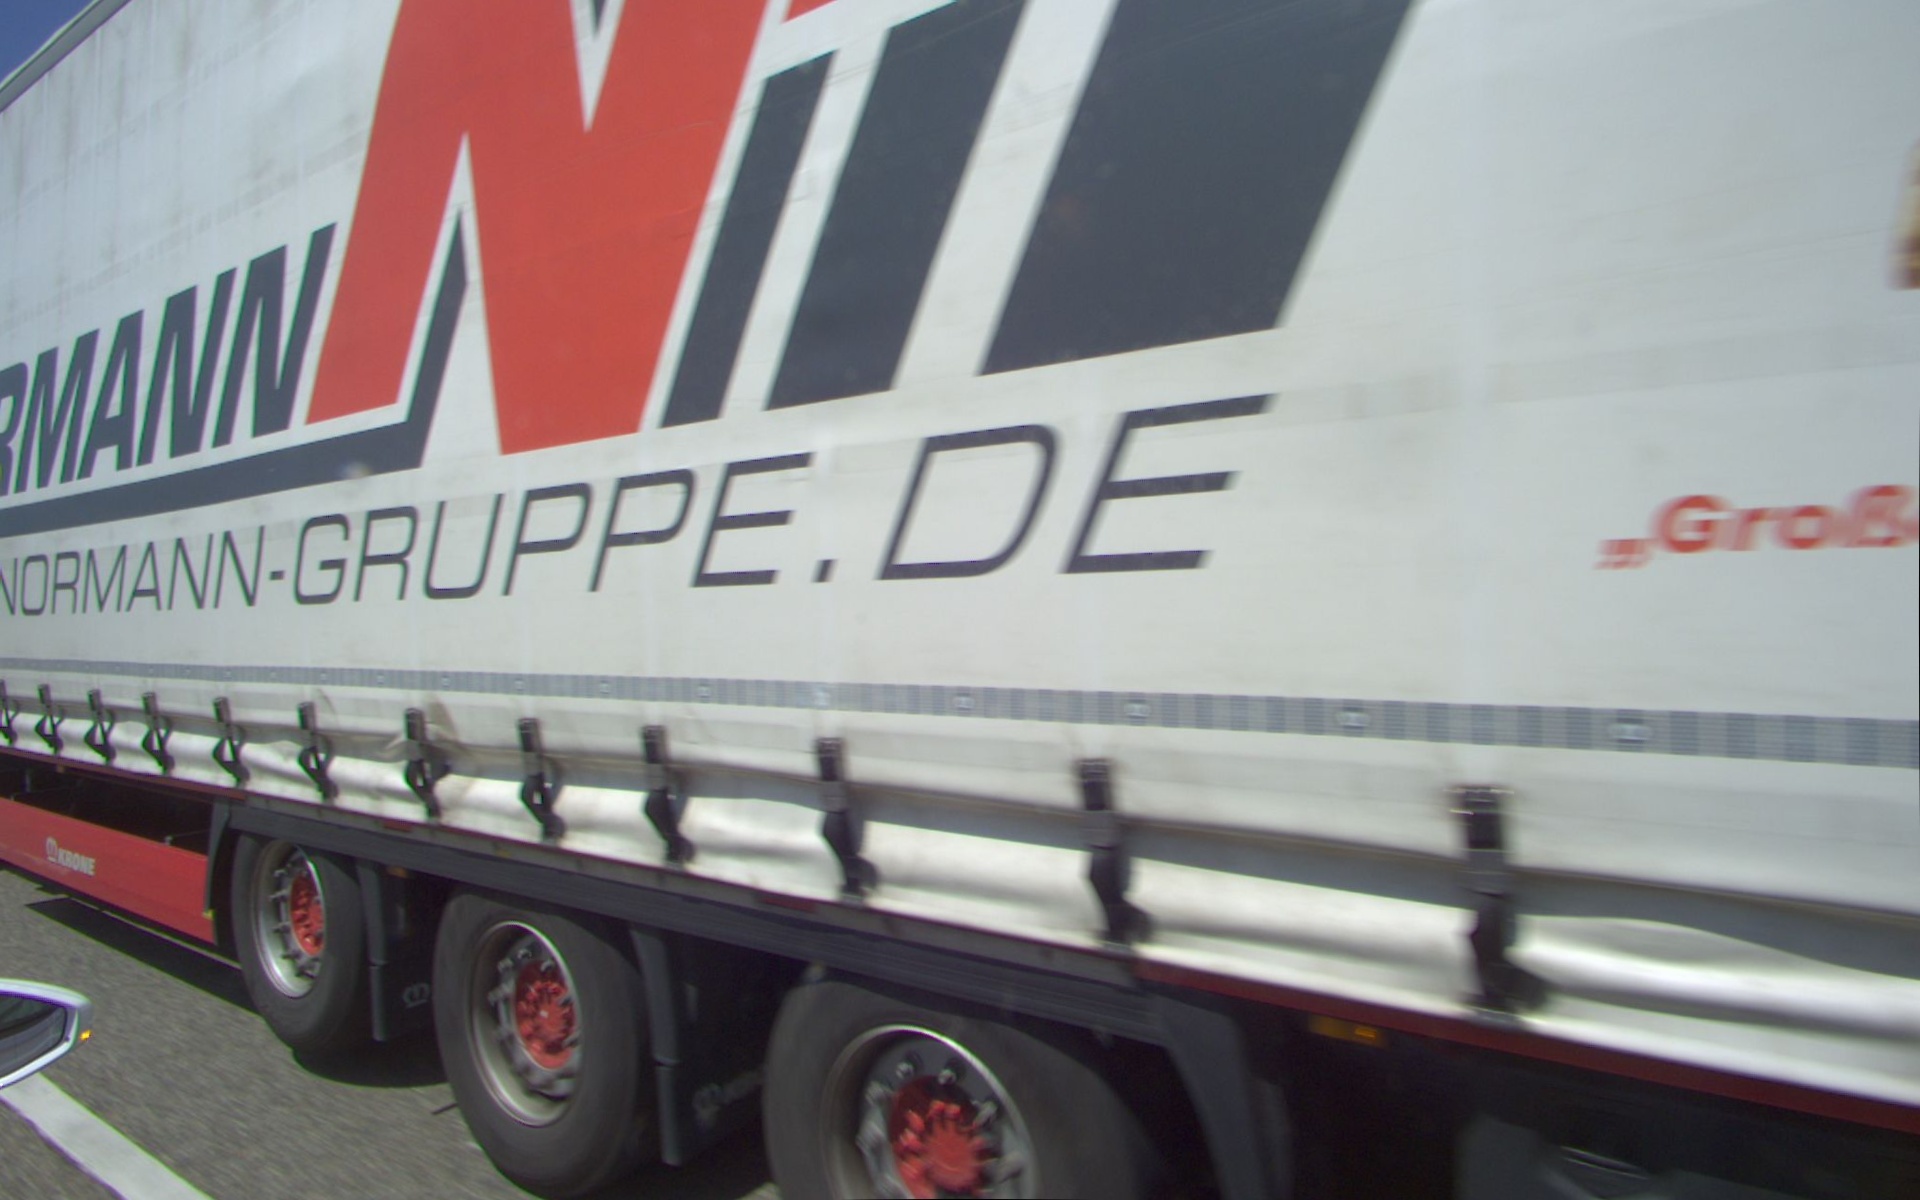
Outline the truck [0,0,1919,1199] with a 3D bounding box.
[{"bbox_3d":[-3.823,-0.490,5.691,17.393,4.146,2.966,-2,-1,34],"label":"truck"}]
